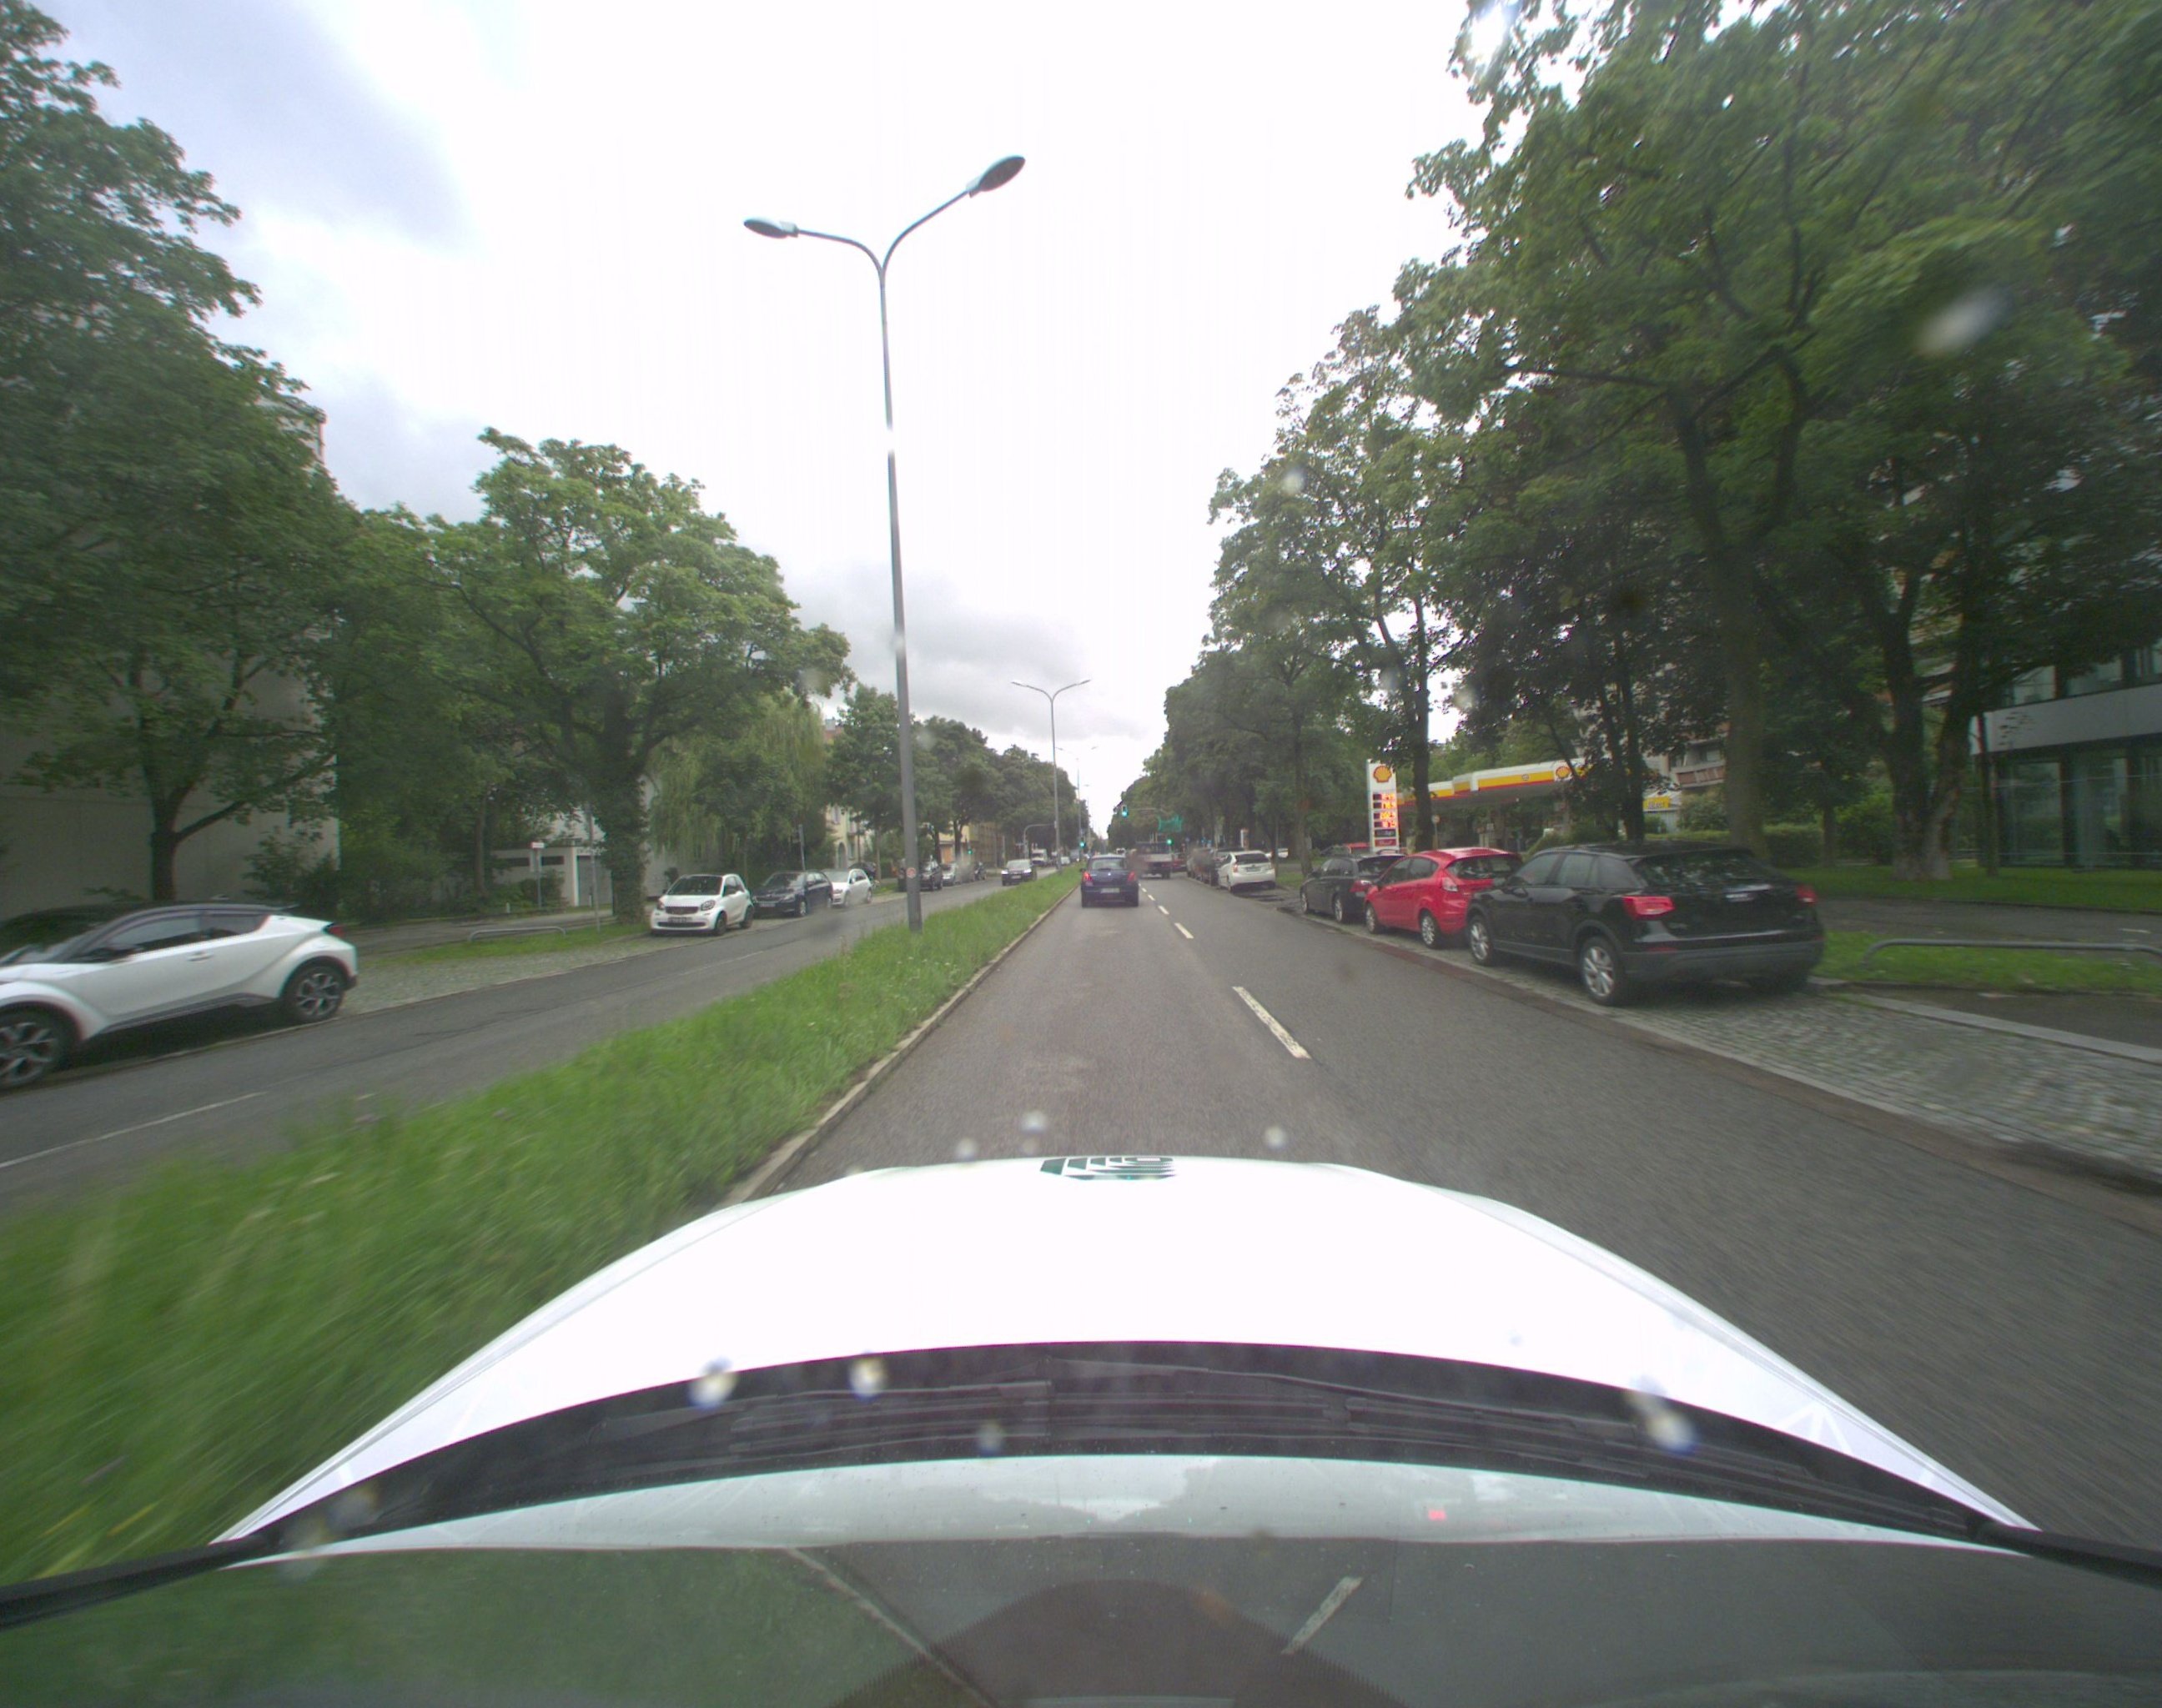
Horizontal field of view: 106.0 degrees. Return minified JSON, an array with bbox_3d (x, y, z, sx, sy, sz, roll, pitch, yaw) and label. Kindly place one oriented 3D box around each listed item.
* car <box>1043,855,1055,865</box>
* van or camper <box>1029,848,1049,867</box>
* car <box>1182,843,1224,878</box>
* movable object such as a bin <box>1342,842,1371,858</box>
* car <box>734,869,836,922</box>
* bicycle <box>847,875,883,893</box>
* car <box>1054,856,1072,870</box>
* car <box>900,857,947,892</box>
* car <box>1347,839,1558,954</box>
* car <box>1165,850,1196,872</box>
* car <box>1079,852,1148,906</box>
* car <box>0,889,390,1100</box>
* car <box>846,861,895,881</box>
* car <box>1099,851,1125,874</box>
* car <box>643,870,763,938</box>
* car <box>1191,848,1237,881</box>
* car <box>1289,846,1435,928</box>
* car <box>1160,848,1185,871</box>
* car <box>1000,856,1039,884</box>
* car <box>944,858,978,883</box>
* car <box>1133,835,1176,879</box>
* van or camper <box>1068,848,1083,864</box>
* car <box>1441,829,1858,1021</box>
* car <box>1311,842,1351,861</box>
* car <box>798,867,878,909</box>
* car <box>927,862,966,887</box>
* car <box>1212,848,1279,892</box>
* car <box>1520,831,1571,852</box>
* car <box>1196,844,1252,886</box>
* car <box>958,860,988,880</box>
[{"bbox_3d":[-5.528,1.020,140.536,1.630,1.442,3.737,-3,0,2],"label":"car"},{"bbox_3d":[-6.157,0.490,120.202,2.132,2.476,6.262,-3,0,2],"label":"van or camper"},{"bbox_3d":[7.116,0.341,47.860,1.754,1.830,4.530,-4,0,2],"label":"car"},{"bbox_3d":[24.683,-0.347,72.945,2.052,1.263,1.532,-3,0,2],"label":"movable object such as a bin"},{"bbox_3d":[-9.562,1.299,26.671,1.668,1.475,4.217,0,0,2],"label":"car"},{"bbox_3d":[-11.185,1.553,42.321,1.446,0.829,1.404,-1,0,2],"label":"bicycle"},{"bbox_3d":[-2.070,1.031,96.342,1.730,1.442,4.106,-3,0,3],"label":"car"},{"bbox_3d":[-8.737,1.090,45.494,1.791,1.763,5.054,0,0,-2],"label":"car"},{"bbox_3d":[5.905,0.596,13.521,1.669,1.501,4.023,-4,0,2],"label":"car"},{"bbox_3d":[7.490,0.487,61.806,1.706,1.424,4.283,-7,0,1],"label":"car"},{"bbox_3d":[0.913,0.700,24.765,1.891,1.499,3.658,-1,0,-1],"label":"car"},{"bbox_3d":[-10.029,1.278,8.402,1.825,1.609,4.494,0,0,2],"label":"car"},{"bbox_3d":[-17.552,1.404,67.997,3.622,1.462,1.671,-3,0,-1],"label":"car"},{"bbox_3d":[2.253,0.611,59.212,1.792,1.499,3.662,-3,0,2],"label":"car"},{"bbox_3d":[-9.796,1.246,21.336,1.685,1.565,3.079,0,0,0],"label":"car"},{"bbox_3d":[6.926,0.538,42.810,1.754,1.506,4.145,-4,0,2],"label":"car"},{"bbox_3d":[5.985,0.623,17.946,1.669,1.453,4.584,-4,0,2],"label":"car"},{"bbox_3d":[7.478,0.424,66.583,1.754,1.658,4.291,-7,0,6],"label":"car"},{"bbox_3d":[-3.502,0.907,47.172,1.732,1.440,4.217,-3,0,2],"label":"car"},{"bbox_3d":[-8.391,1.127,57.309,1.661,1.562,4.298,-3,0,0],"label":"car"},{"bbox_3d":[4.361,0.159,48.953,2.408,2.444,5.091,-1,0,3],"label":"car"},{"bbox_3d":[-0.777,0.331,121.644,2.016,2.260,6.023,-3,0,1],"label":"van or camper"},{"bbox_3d":[5.761,0.595,9.059,1.772,1.511,4.289,-4,0,4],"label":"car"},{"bbox_3d":[27.764,-0.296,90.599,3.858,1.610,1.937,-7,0,8],"label":"car"},{"bbox_3d":[-9.350,1.264,31.693,1.668,1.443,4.322,0,0,2],"label":"car"},{"bbox_3d":[-8.585,1.269,52.282,1.660,1.445,4.377,0,0,2],"label":"car"},{"bbox_3d":[6.415,0.582,32.193,1.754,1.453,4.635,-4,0,2],"label":"car"},{"bbox_3d":[47.229,-1.257,82.855,4.007,1.610,1.773,-7,0,8],"label":"car"},{"bbox_3d":[6.534,0.458,37.758,1.754,1.698,5.232,-4,0,2],"label":"car"},{"bbox_3d":[-8.279,1.194,62.865,1.557,1.450,3.841,0,0,4],"label":"car"}]
